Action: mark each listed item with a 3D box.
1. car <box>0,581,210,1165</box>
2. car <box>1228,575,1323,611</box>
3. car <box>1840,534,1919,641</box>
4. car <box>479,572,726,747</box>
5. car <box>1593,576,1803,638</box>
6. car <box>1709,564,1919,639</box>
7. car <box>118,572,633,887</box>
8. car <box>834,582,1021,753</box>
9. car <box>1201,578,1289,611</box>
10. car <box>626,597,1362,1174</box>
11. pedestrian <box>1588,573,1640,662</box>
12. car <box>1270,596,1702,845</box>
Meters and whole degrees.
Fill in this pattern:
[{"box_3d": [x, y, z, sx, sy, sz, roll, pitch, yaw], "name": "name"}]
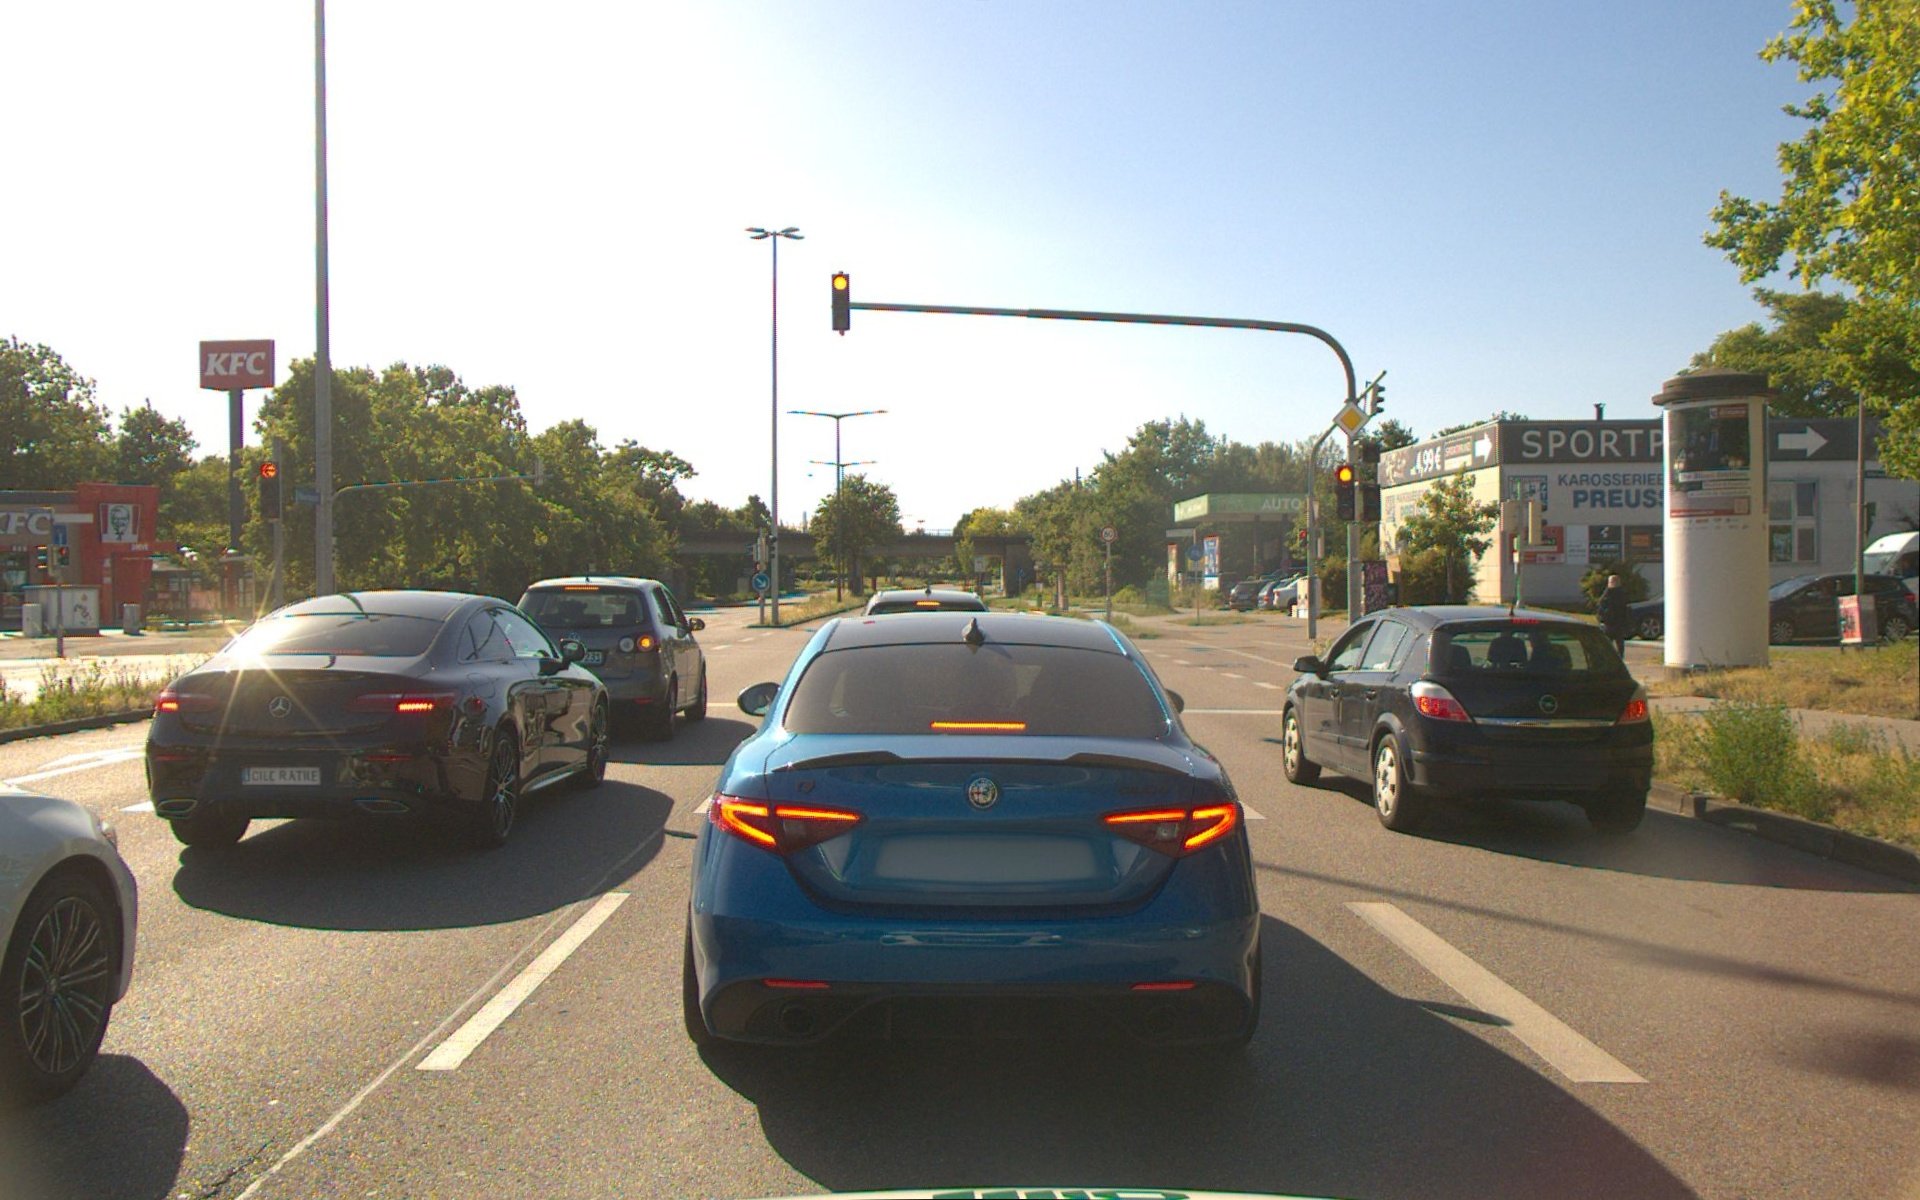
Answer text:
[{"box_3d": [-3.364, 0.711, 3.163, 1.775, 1.512, 4.596, 0, 0, 0], "name": "car"}, {"box_3d": [14.256, -0.309, 74.920, 3.905, 1.579, 2.000, 1, 0, 0], "name": "car"}, {"box_3d": [26.344, -0.368, 43.097, 5.715, 2.719, 2.000, -1, 0, 0], "name": "car"}, {"box_3d": [-3.586, 0.555, 17.361, 1.776, 1.578, 4.351, 1, 0, -2], "name": "car"}, {"box_3d": [19.155, 0.183, 43.039, 4.722, 1.493, 1.758, 1, 0, -3], "name": "car"}, {"box_3d": [20.357, 0.035, 39.470, 4.219, 1.678, 1.637, 1, 0, -2], "name": "car"}, {"box_3d": [-3.394, 0.645, 10.619, 1.775, 1.578, 4.542, 1, 0, -1], "name": "car"}, {"box_3d": [-0.270, 0.621, 16.842, 1.669, 1.523, 3.719, 1, 0, 1], "name": "car"}, {"box_3d": [14.377, -0.273, 83.607, 3.925, 1.579, 1.990, 1, 0, -18], "name": "car"}, {"box_3d": [0.116, 0.742, 6.115, 1.870, 1.447, 3.719, 1, 0, 1], "name": "car"}, {"box_3d": [12.668, 0.337, 32.050, 0.800, 1.698, 0.514, 1, -1, -1], "name": "pedestrian"}, {"box_3d": [3.579, 0.723, 12.142, 1.699, 1.467, 4.370, 1, 0, -1], "name": "car"}]
